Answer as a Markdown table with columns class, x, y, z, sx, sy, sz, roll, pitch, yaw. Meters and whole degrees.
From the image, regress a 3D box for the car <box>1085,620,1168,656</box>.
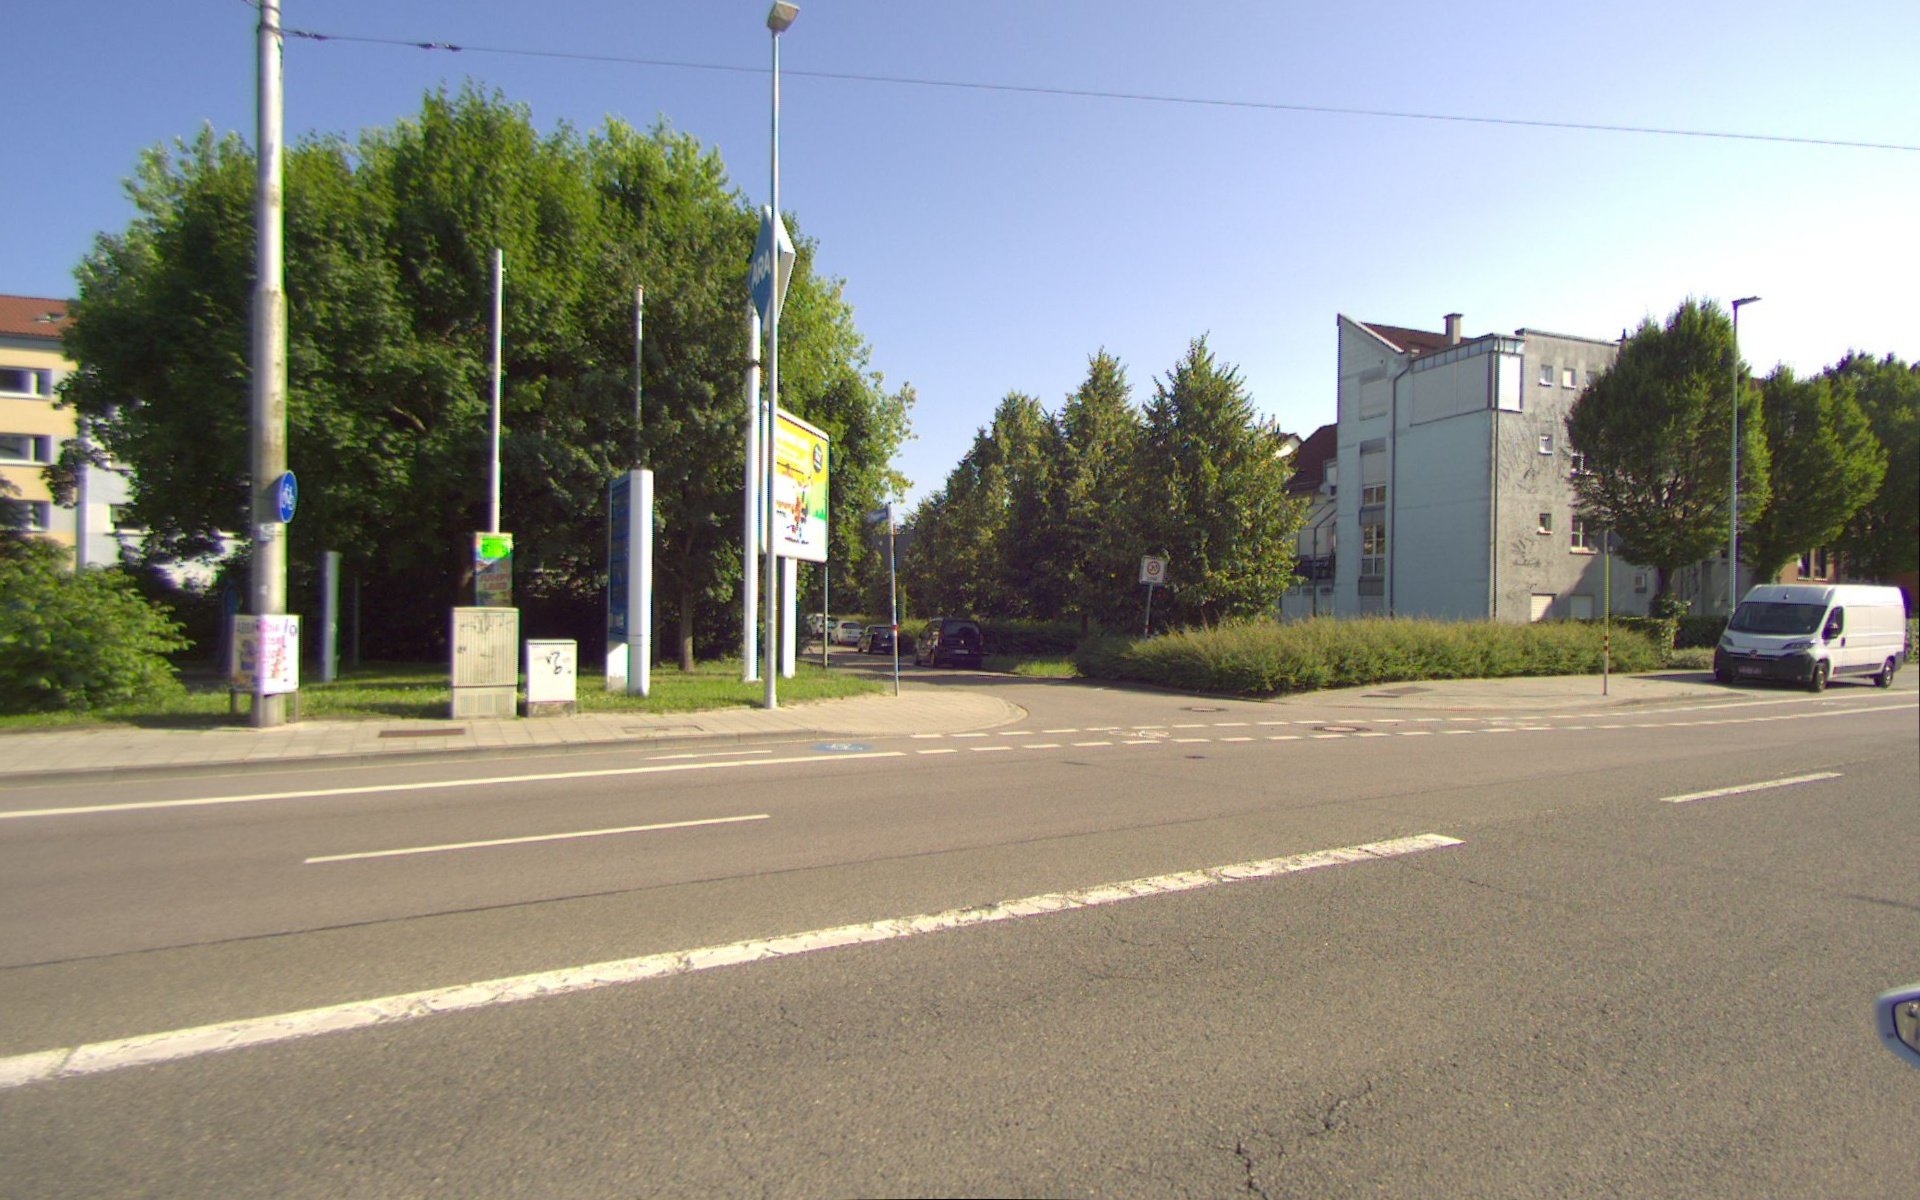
| class | x | y | z | sx | sy | sz | roll | pitch | yaw |
| --- | --- | --- | --- | --- | --- | --- | --- | --- | --- |
| car | 6.440 | 1.465 | 39.203 | 1.716 | 1.285 | 3.782 | 1 | -1 | -17 |

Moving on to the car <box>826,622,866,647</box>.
| class | x | y | z | sx | sy | sz | roll | pitch | yaw |
| --- | --- | --- | --- | --- | --- | --- | --- | --- | --- |
| car | -6.984 | 2.088 | 61.266 | 1.848 | 1.409 | 3.988 | 1 | -1 | -15 |

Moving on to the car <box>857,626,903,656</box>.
| class | x | y | z | sx | sy | sz | roll | pitch | yaw |
| --- | --- | --- | --- | --- | --- | --- | --- | --- | --- |
| car | -4.057 | 2.026 | 50.435 | 1.677 | 1.409 | 3.988 | 1 | -1 | -15 |

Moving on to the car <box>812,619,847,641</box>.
| class | x | y | z | sx | sy | sz | roll | pitch | yaw |
| --- | --- | --- | --- | --- | --- | --- | --- | --- | --- |
| car | -8.835 | 2.027 | 67.781 | 1.848 | 1.409 | 3.988 | 1 | -1 | -15 |

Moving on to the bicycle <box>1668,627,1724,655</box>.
| class | x | y | z | sx | sy | sz | roll | pitch | yaw |
| --- | --- | --- | --- | --- | --- | --- | --- | --- | --- |
| bicycle | 28.626 | 1.581 | 39.087 | 0.633 | 0.990 | 1.680 | 1 | 0 | -21 |

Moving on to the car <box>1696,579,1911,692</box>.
| class | x | y | z | sx | sy | sz | roll | pitch | yaw |
| --- | --- | --- | --- | --- | --- | --- | --- | --- | --- |
| car | 21.101 | 0.809 | 25.051 | 6.112 | 2.491 | 2.141 | 1 | 2 | -31 |

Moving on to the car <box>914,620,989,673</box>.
| class | x | y | z | sx | sy | sz | roll | pitch | yaw |
| --- | --- | --- | --- | --- | --- | --- | --- | --- | --- |
| car | -0.385 | 1.642 | 36.618 | 1.743 | 1.719 | 3.988 | 3 | -1 | -15 |
